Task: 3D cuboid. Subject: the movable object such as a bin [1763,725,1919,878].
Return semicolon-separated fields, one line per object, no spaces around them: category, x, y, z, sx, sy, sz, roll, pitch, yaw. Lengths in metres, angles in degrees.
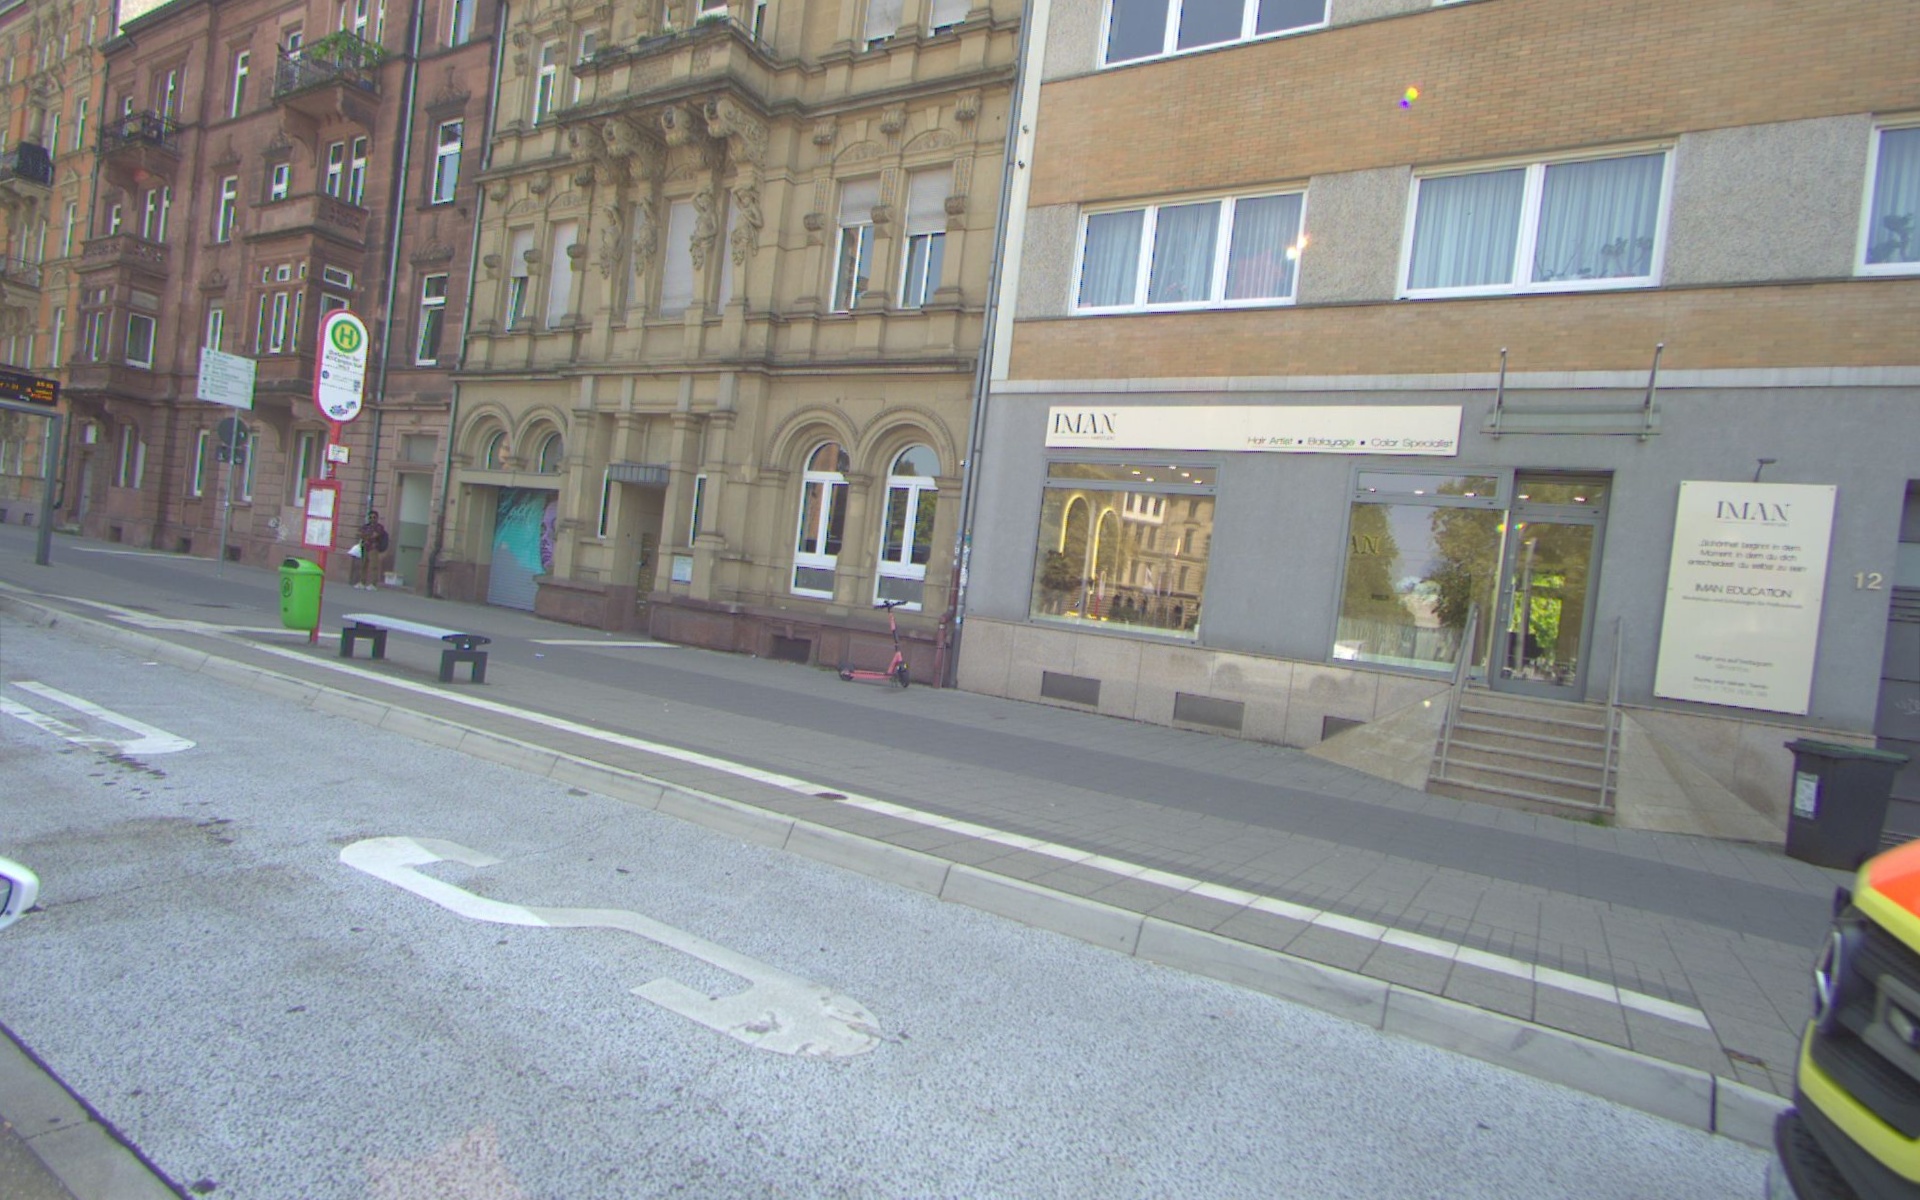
movable object such as a bin;7.689;1.733;8.774;0.715;1.119;0.646;7;2;6

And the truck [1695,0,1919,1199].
truck;4.343;0.493;0.364;6.237;2.807;2.327;7;2;35

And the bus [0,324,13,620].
bus;-15.858;-1.954;12.827;11.760;3.149;2.742;7;3;33

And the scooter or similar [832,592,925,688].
scooter or similar;-1.175;0.563;14.467;1.122;1.228;0.476;7;1;26

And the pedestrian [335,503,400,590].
pedestrian;-13.187;-1.175;22.413;0.729;1.800;0.870;7;1;4
